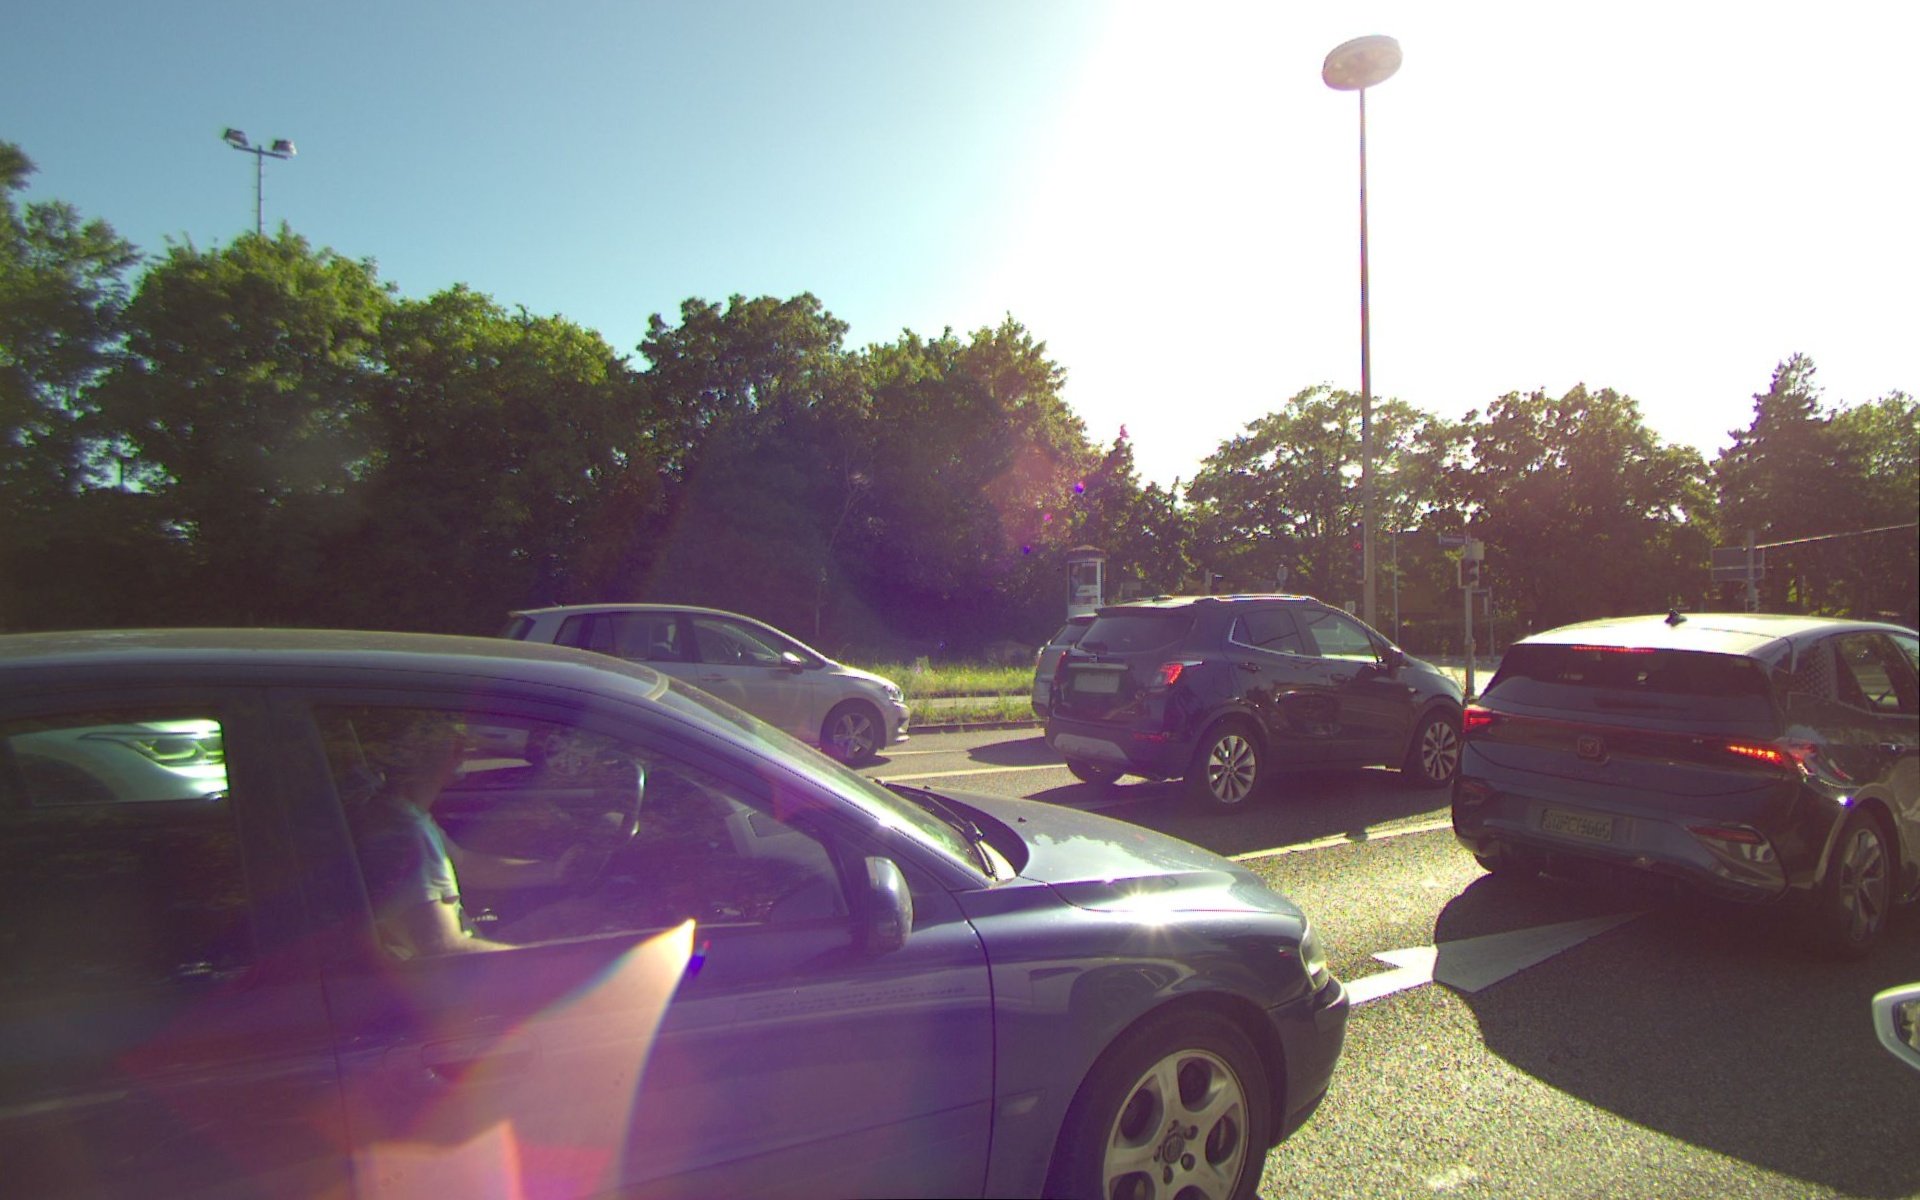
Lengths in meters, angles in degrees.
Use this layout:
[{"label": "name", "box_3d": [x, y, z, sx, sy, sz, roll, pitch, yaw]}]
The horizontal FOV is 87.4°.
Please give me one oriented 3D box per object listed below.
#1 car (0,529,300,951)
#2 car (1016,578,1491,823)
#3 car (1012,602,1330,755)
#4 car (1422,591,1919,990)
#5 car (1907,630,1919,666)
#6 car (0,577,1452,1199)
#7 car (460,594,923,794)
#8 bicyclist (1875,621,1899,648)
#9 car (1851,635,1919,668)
[{"label": "car", "box_3d": [-5.555, 0.581, 4.334, 4.373, 1.732, 1.984, 1, -2, -30]}, {"label": "car", "box_3d": [2.620, 0.760, 8.800, 3.953, 1.711, 1.796, 1, -2, -30]}, {"label": "car", "box_3d": [2.811, 0.943, 13.187, 3.956, 1.724, 1.820, 1, -2, -32]}, {"label": "car", "box_3d": [4.740, 0.819, 5.821, 4.158, 1.601, 1.676, 2, -1, -30]}, {"label": "car", "box_3d": [42.616, 2.040, 42.981, 4.451, 1.544, 1.880, 1, -2, -30]}, {"label": "car", "box_3d": [-1.097, 0.717, 2.206, 4.404, 1.471, 1.767, 2, 0, -30]}, {"label": "car", "box_3d": [-2.613, 0.825, 10.011, 4.156, 1.632, 1.822, 1, -2, -30]}, {"label": "bicyclist", "box_3d": [57.637, 2.155, 62.449, 1.188, 1.670, 0.870, 1, -2, -36]}, {"label": "car", "box_3d": [44.338, 2.421, 47.862, 3.956, 1.529, 1.678, 1, -2, -30]}]
